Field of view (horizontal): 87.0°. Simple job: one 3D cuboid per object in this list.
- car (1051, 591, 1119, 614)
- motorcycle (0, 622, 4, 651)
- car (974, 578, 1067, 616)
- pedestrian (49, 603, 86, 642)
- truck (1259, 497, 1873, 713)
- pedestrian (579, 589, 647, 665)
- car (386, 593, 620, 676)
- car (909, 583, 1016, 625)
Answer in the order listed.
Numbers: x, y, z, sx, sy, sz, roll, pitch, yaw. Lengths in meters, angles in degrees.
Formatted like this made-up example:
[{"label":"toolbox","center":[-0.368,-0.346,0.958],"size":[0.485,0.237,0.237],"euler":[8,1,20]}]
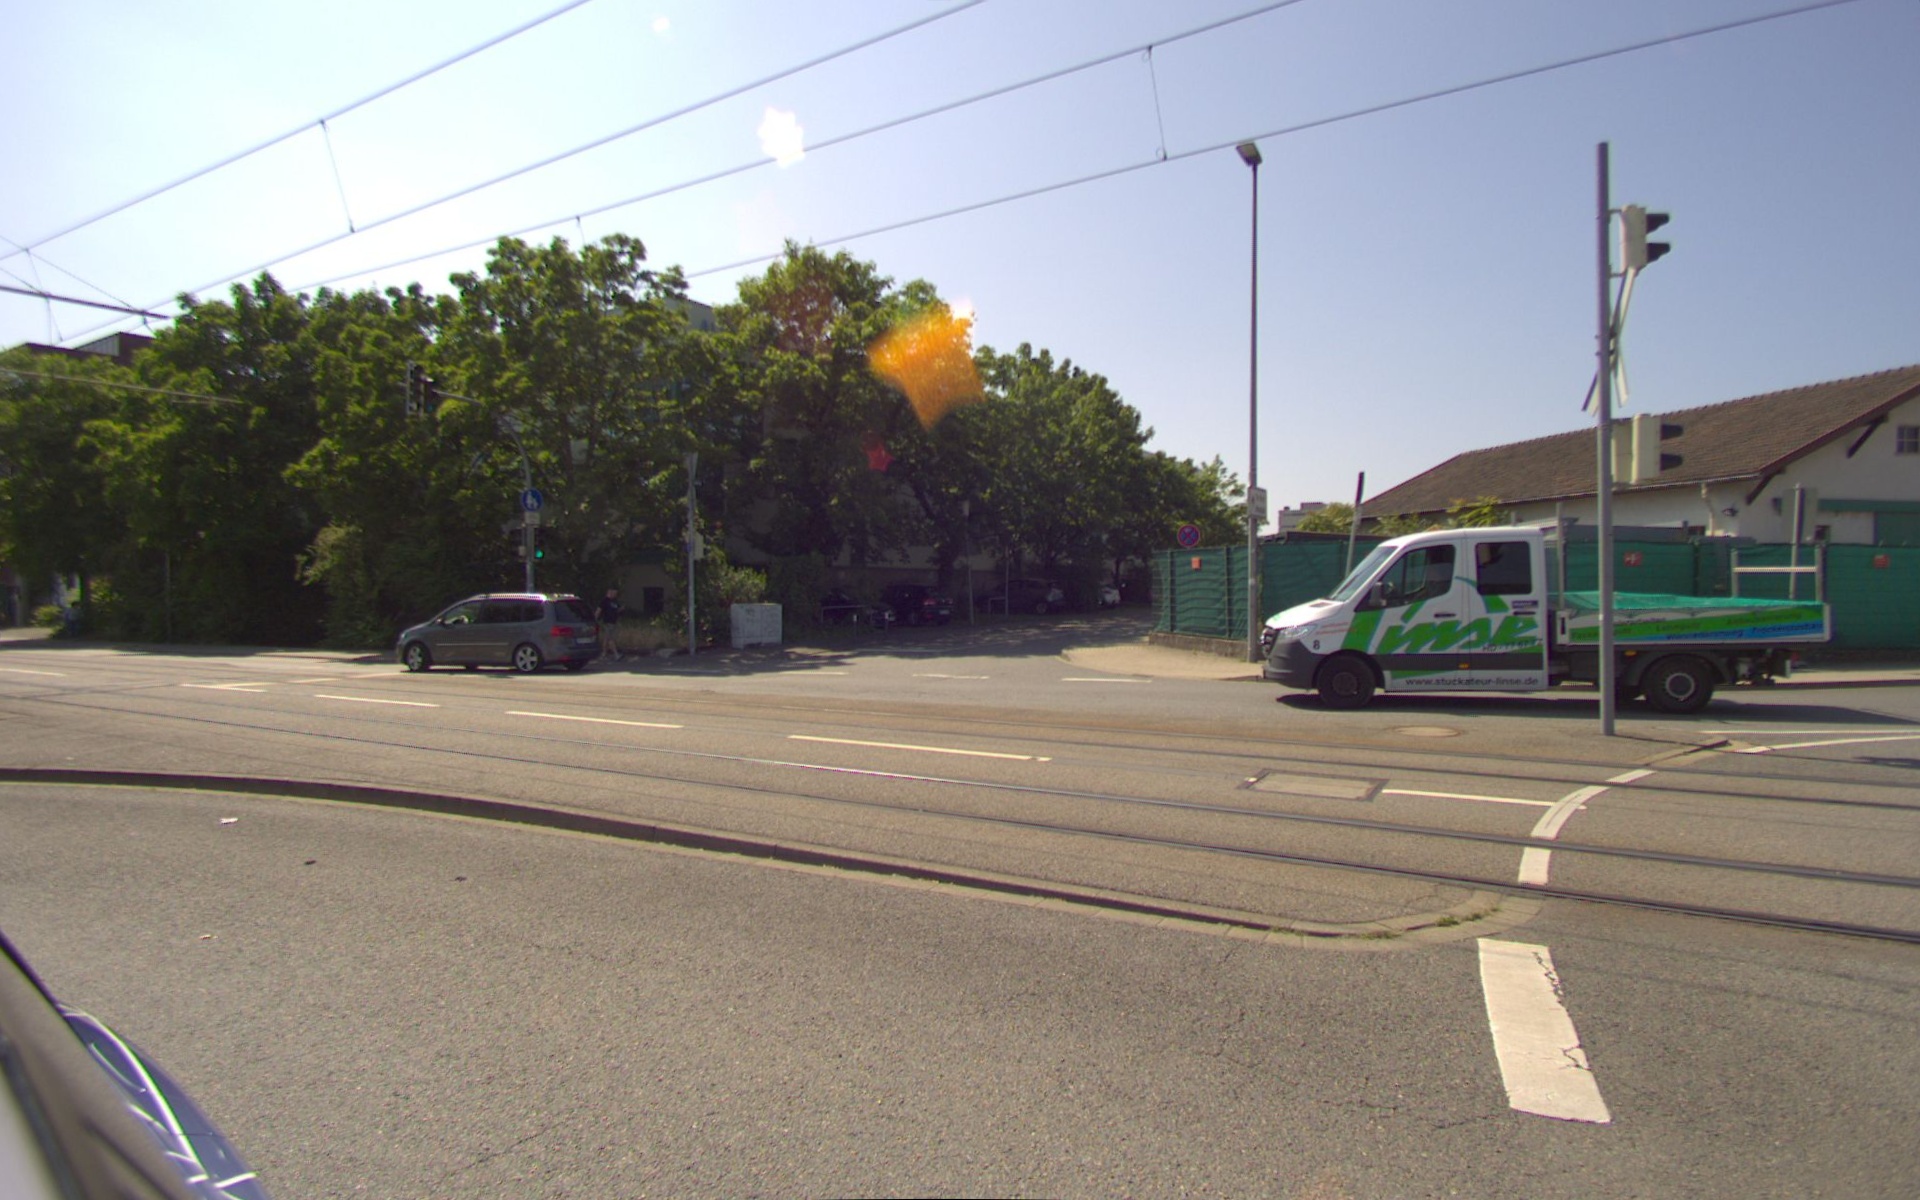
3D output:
[{"label":"car","center":[6.198,0.120,50.183],"size":[3.106,1.133,1.200],"euler":[-1,0,26]},{"label":"motorcycle","center":[-34.869,1.289,35.956],"size":[1.956,1.019,0.816],"euler":[-1,0,31]},{"label":"car","center":[2.684,-0.147,45.074],"size":[3.846,1.650,1.612],"euler":[1,1,26]},{"label":"pedestrian","center":[-35.214,0.879,39.925],"size":[0.842,1.538,0.864],"euler":[-1,0,30]},{"label":"truck","center":[7.186,0.085,12.963],"size":[6.330,2.355,2.199],"euler":[-1,0,15]},{"label":"pedestrian","center":[-8.072,0.614,23.545],"size":[1.156,1.682,0.880],"euler":[-1,3,31]},{"label":"car","center":[-9.631,0.708,21.477],"size":[4.146,1.595,1.927],"euler":[1,-1,11]},{"label":"car","center":[0.123,0.153,37.996],"size":[3.821,1.478,1.622],"euler":[-1,0,8]}]
